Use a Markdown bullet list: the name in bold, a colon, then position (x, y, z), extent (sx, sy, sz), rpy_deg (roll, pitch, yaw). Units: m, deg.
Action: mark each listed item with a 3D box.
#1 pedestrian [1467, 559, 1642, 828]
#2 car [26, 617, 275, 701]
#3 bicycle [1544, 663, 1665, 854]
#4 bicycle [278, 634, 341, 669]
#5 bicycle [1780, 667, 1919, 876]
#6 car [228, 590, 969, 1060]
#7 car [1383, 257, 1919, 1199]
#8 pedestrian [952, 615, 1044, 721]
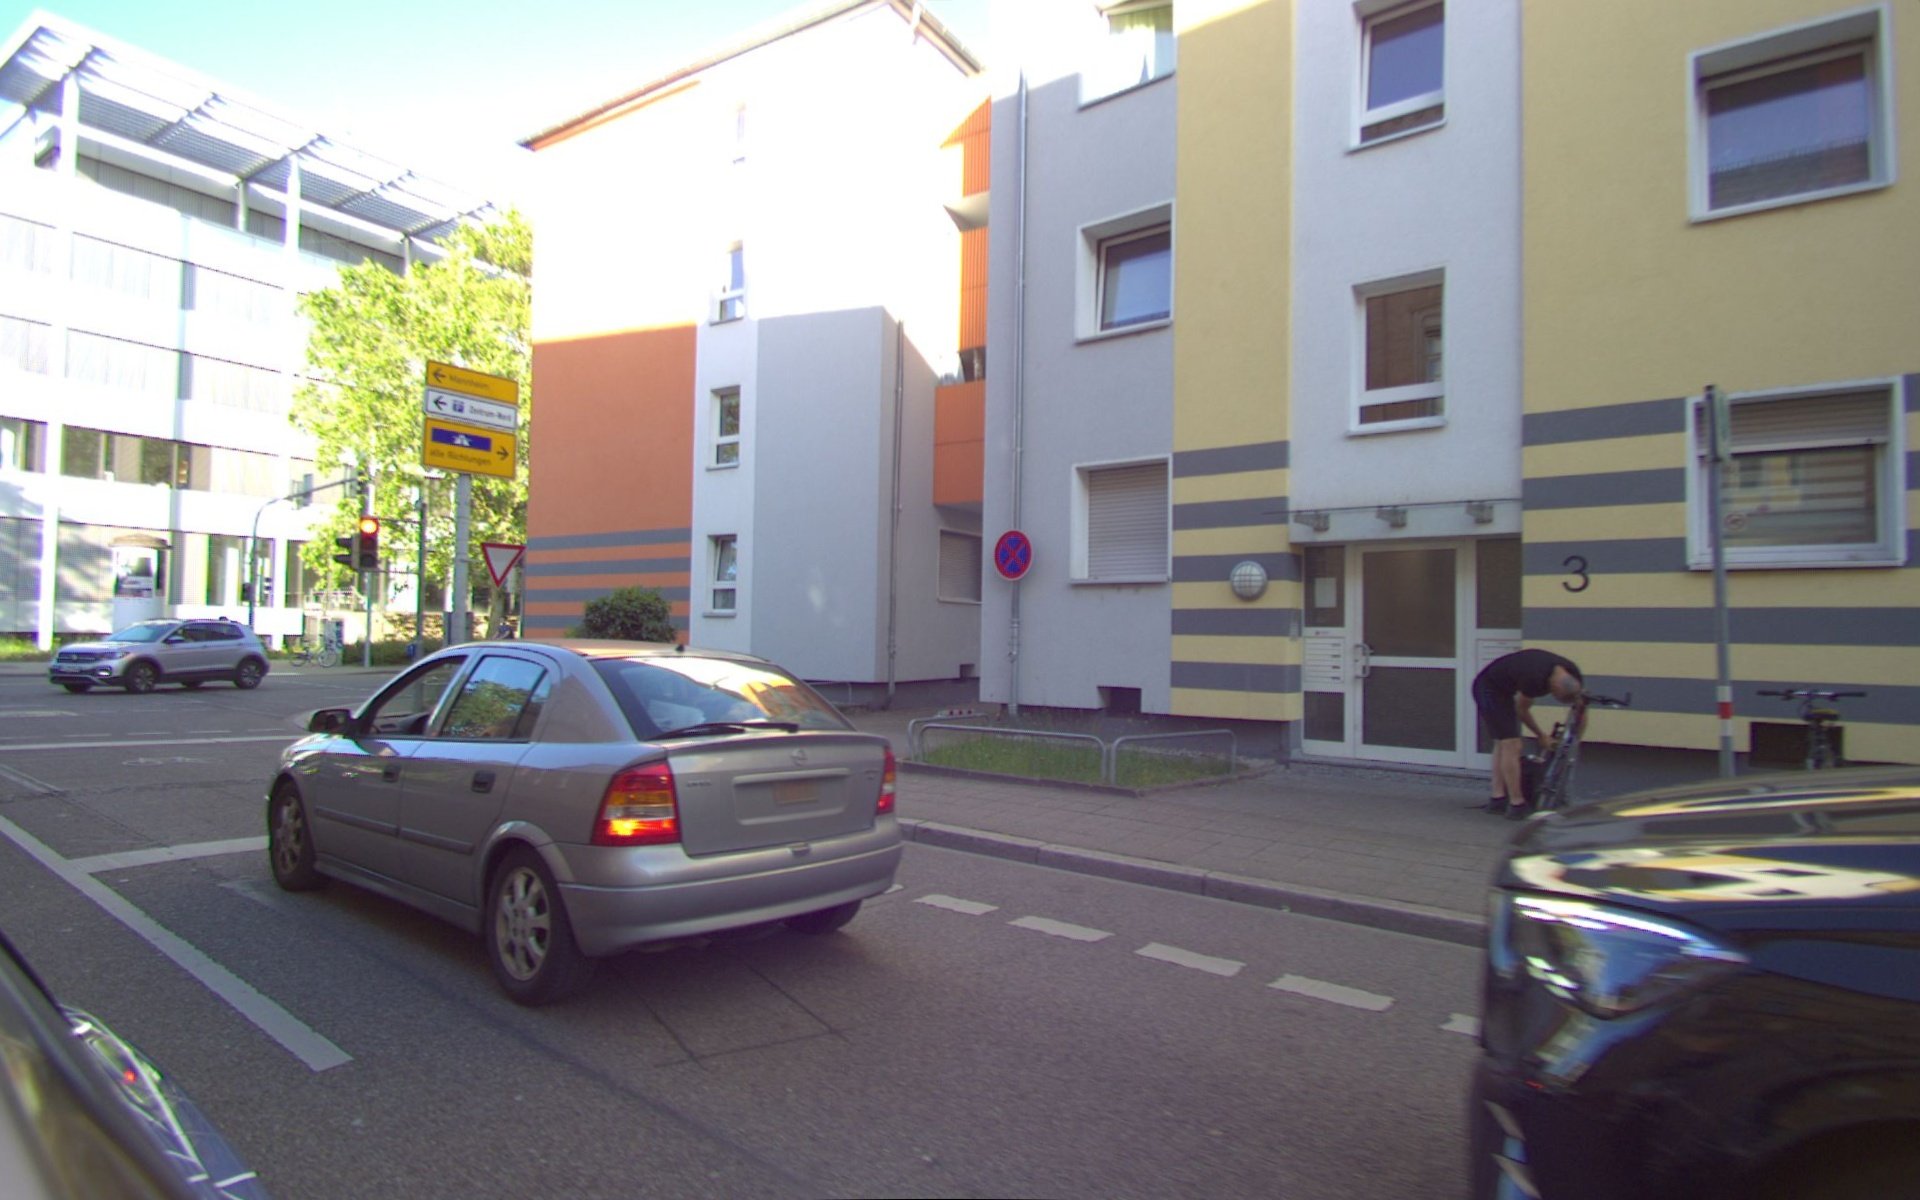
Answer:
- **pedestrian**: position (4.443, 0.671, 7.600), extent (0.709, 1.869, 0.872), rpy_deg (2, -2, -27)
- **car**: position (-17.196, 1.219, 21.771), extent (1.730, 1.616, 3.984), rpy_deg (0, -2, 12)
- **bicycle**: position (4.636, 1.051, 7.269), extent (0.649, 1.154, 1.737), rpy_deg (-1, -3, 34)
- **bicycle**: position (-23.039, 1.809, 35.859), extent (1.967, 1.191, 0.470), rpy_deg (1, -1, 4)
- **bicycle**: position (5.887, 1.038, 6.612), extent (0.649, 1.154, 1.737), rpy_deg (-1, -3, 34)
- **car**: position (-2.105, 0.805, 5.263), extent (4.133, 1.497, 1.723), rpy_deg (-1, -5, 40)
- **car**: position (3.243, 0.510, 0.755), extent (5.092, 1.849, 1.880), rpy_deg (-1, -4, 41)
- **pedestrian**: position (0.605, 1.047, 15.964), extent (1.077, 1.584, 1.003), rpy_deg (-1, -2, 35)
